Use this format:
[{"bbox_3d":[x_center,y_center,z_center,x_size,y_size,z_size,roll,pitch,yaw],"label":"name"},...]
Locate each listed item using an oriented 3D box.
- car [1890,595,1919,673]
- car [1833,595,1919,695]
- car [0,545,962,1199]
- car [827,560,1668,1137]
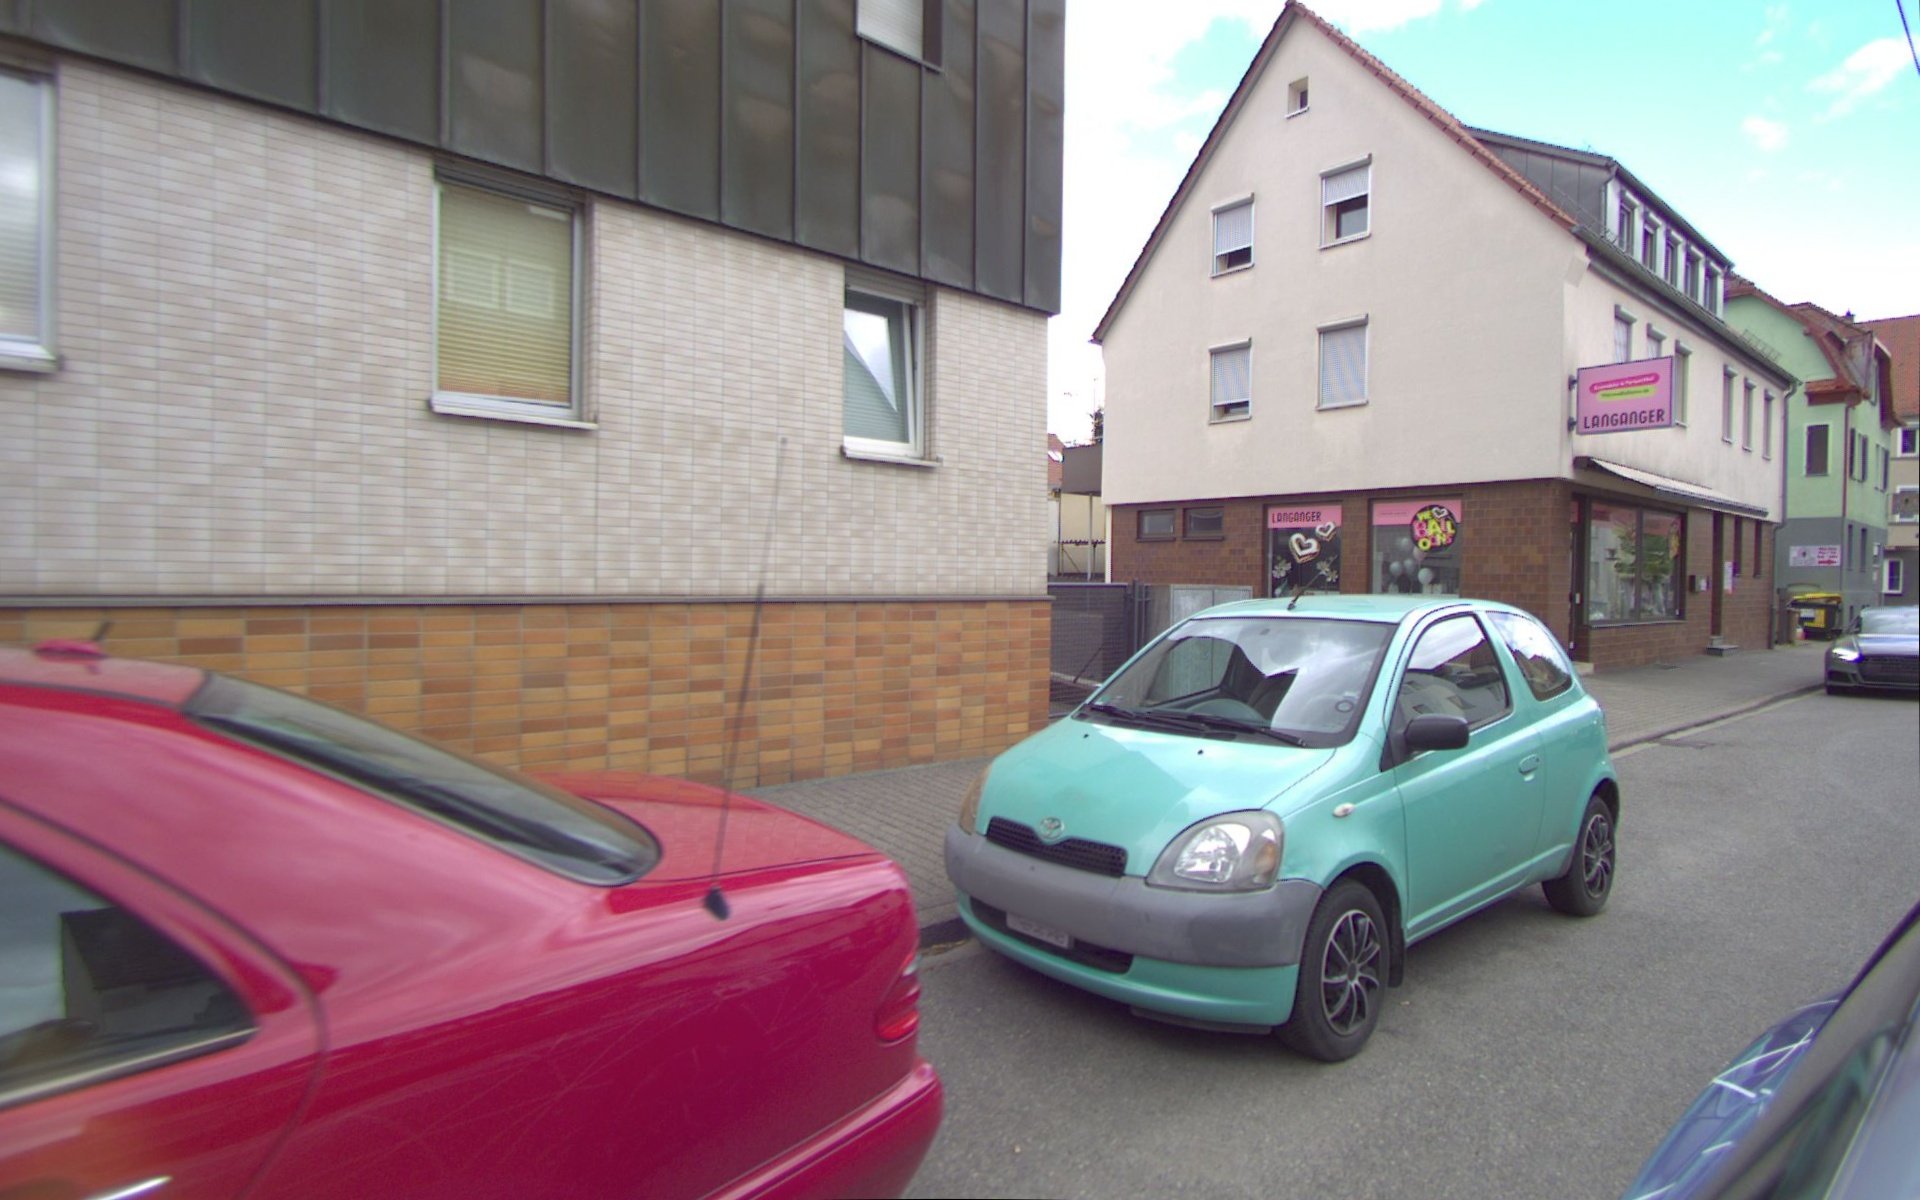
[{"bbox_3d":[20.053,0.644,20.176,4.257,1.464,1.833,0,0,-42],"label":"car"},{"bbox_3d":[15.521,0.651,16.287,4.041,1.464,1.833,0,0,-43],"label":"car"},{"bbox_3d":[-2.186,0.679,1.072,4.379,1.464,1.757,0,0,-43],"label":"car"},{"bbox_3d":[1.546,0.638,4.636,3.922,1.516,1.835,0,0,-40],"label":"car"}]
